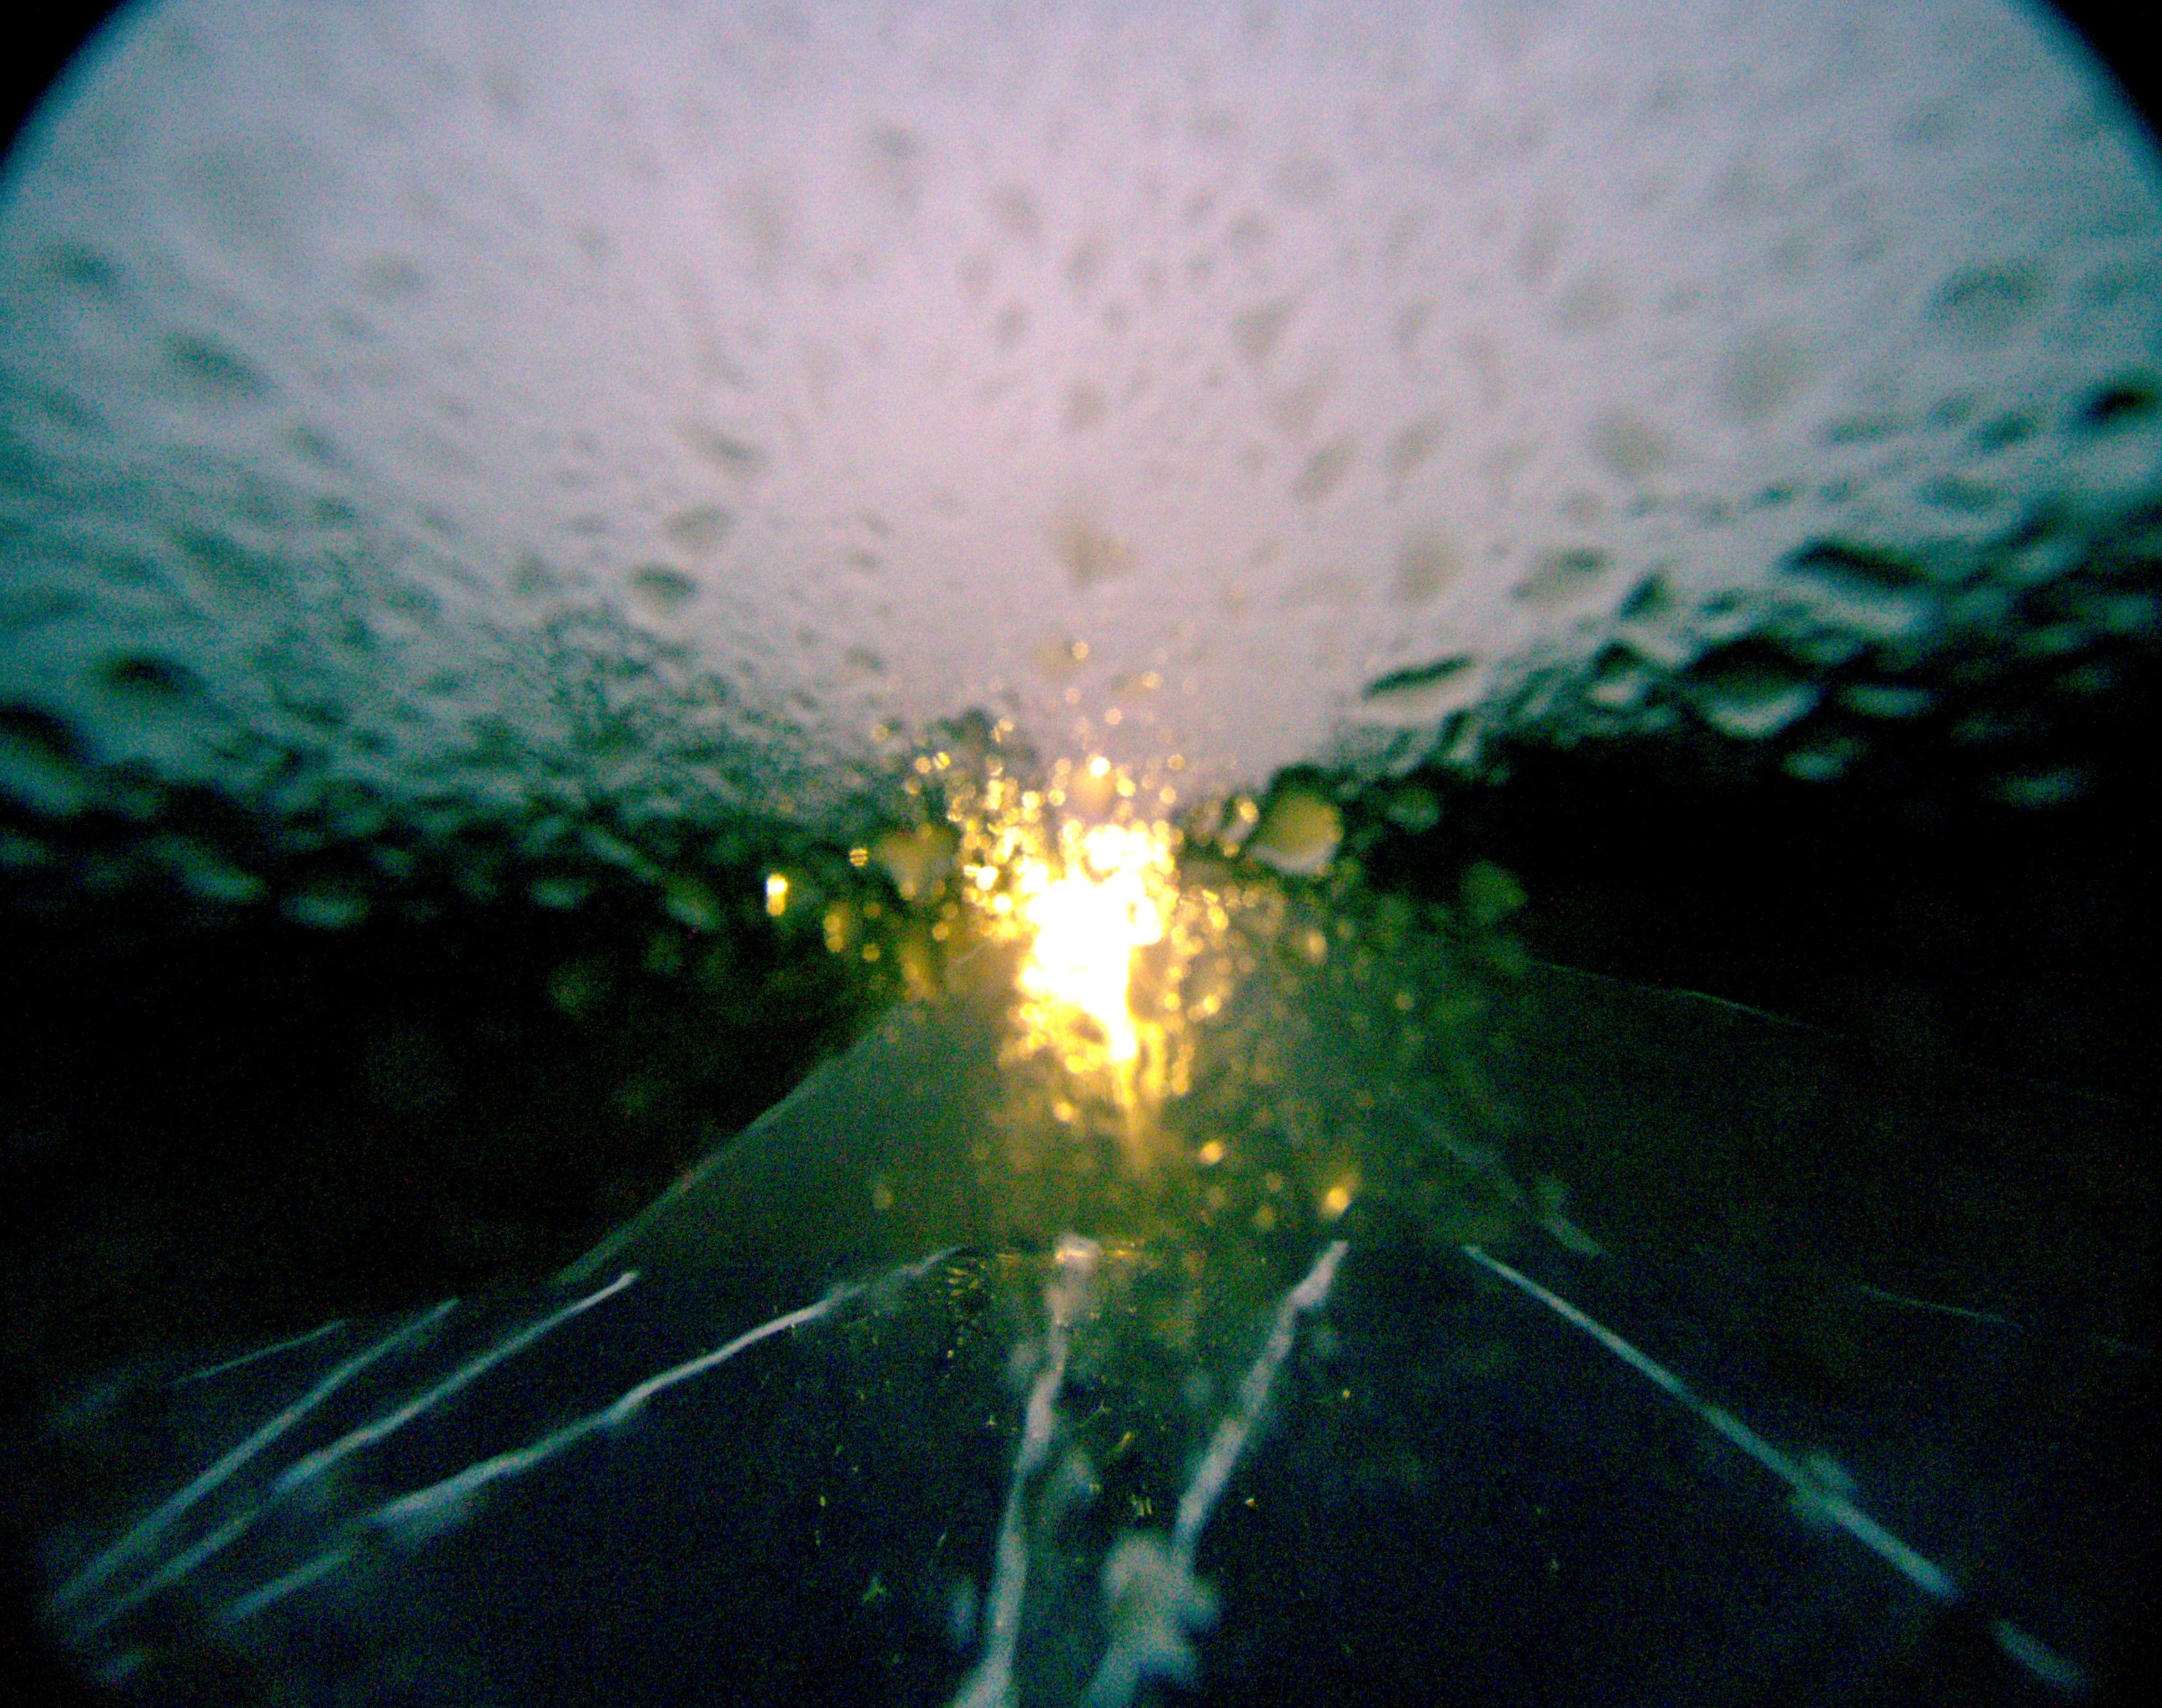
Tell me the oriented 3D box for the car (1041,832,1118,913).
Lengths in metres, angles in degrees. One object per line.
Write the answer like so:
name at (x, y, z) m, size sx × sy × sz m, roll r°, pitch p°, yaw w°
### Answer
car at (0.068, 0.505, 23.380) m, size 1.952 × 2.195 × 4.536 m, roll -2°, pitch 0°, yaw 4°
